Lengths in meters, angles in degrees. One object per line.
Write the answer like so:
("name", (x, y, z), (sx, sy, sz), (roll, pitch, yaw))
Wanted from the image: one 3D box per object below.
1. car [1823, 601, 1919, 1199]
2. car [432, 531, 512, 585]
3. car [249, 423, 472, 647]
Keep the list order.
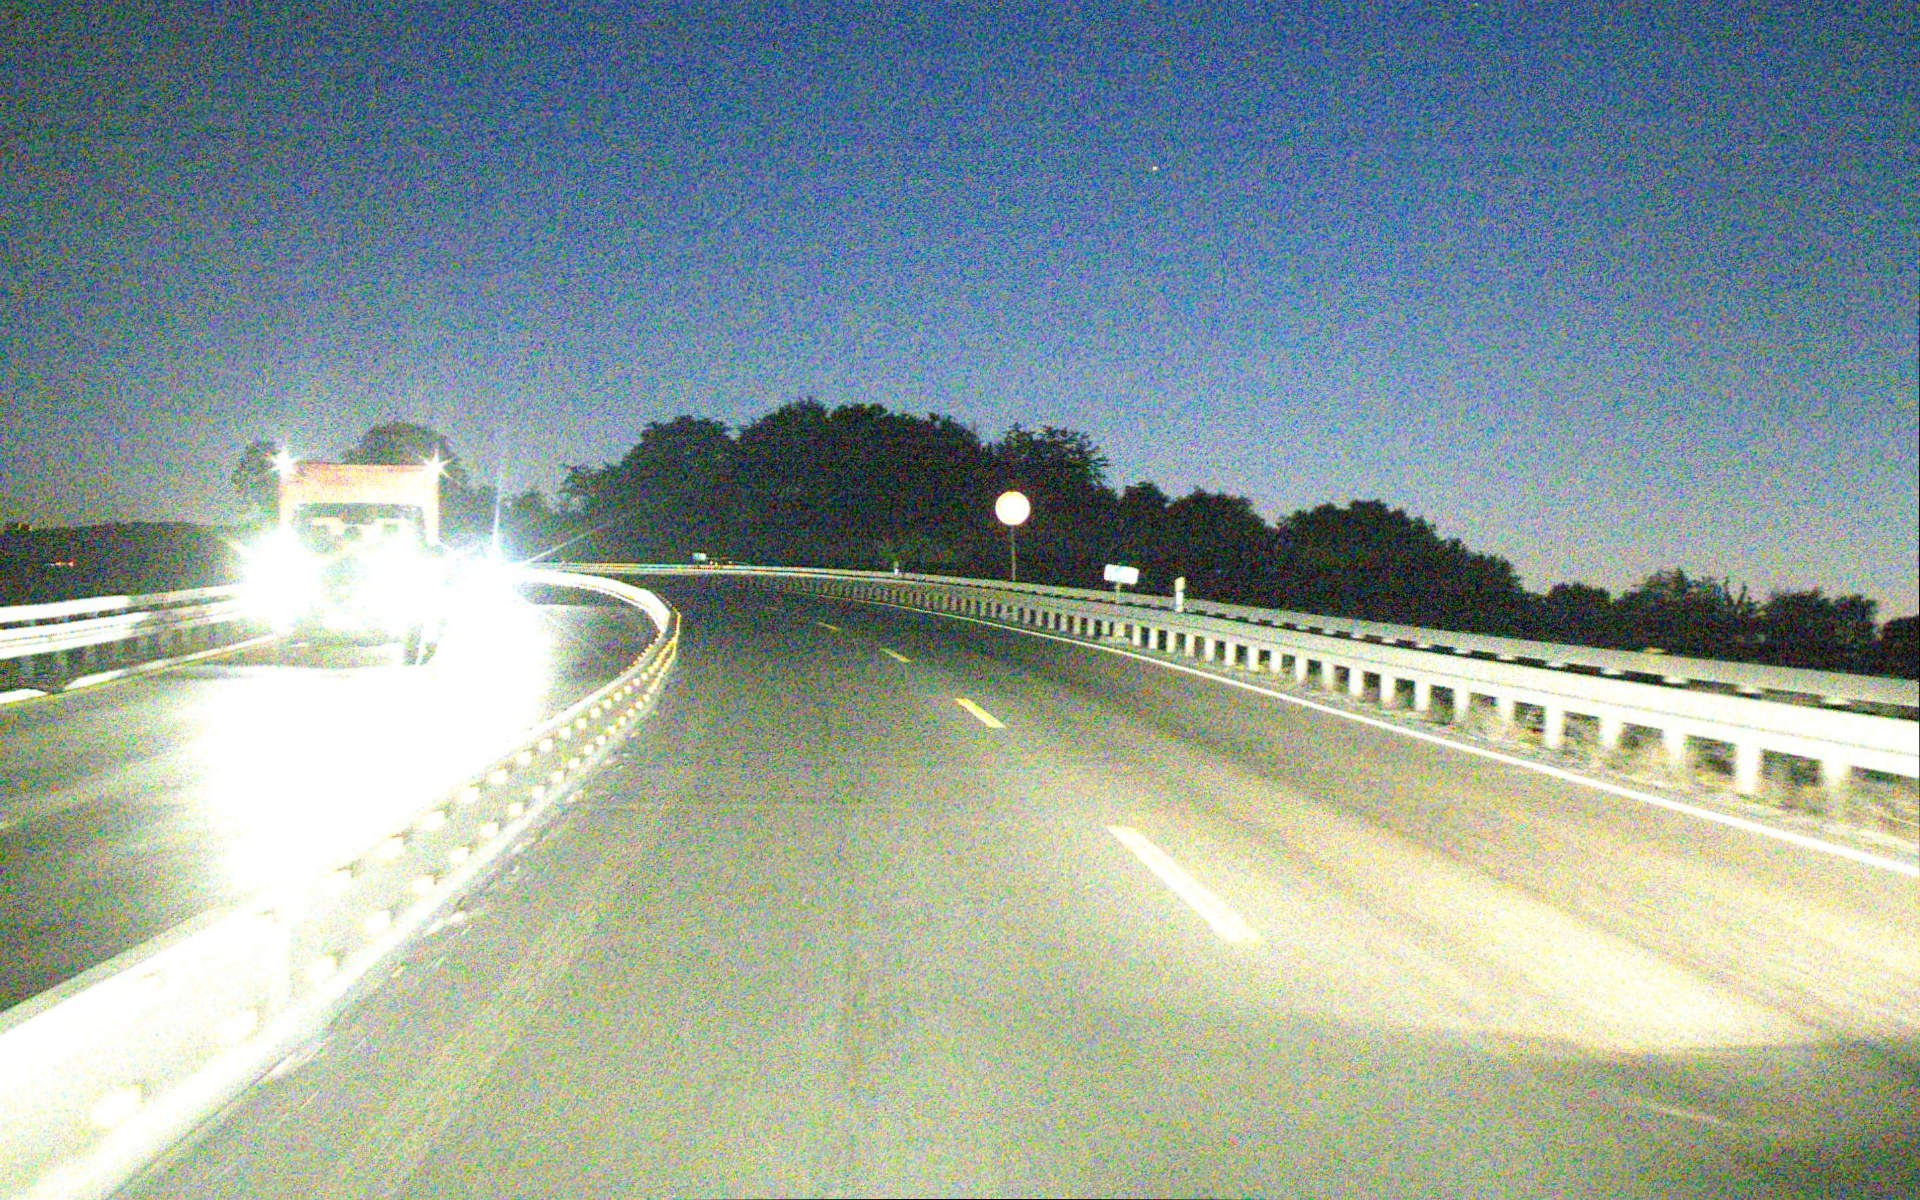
("car", (3.203, 0.732, 6.347), (1.808, 1.422, 4.875), (0, 1, -2))
("car", (-13.358, -1.177, 94.274), (1.912, 1.421, 4.953), (0, 1, -5))
("car", (-8.796, -0.894, 51.128), (2.486, 3.095, 7.386), (0, 0, -4))
